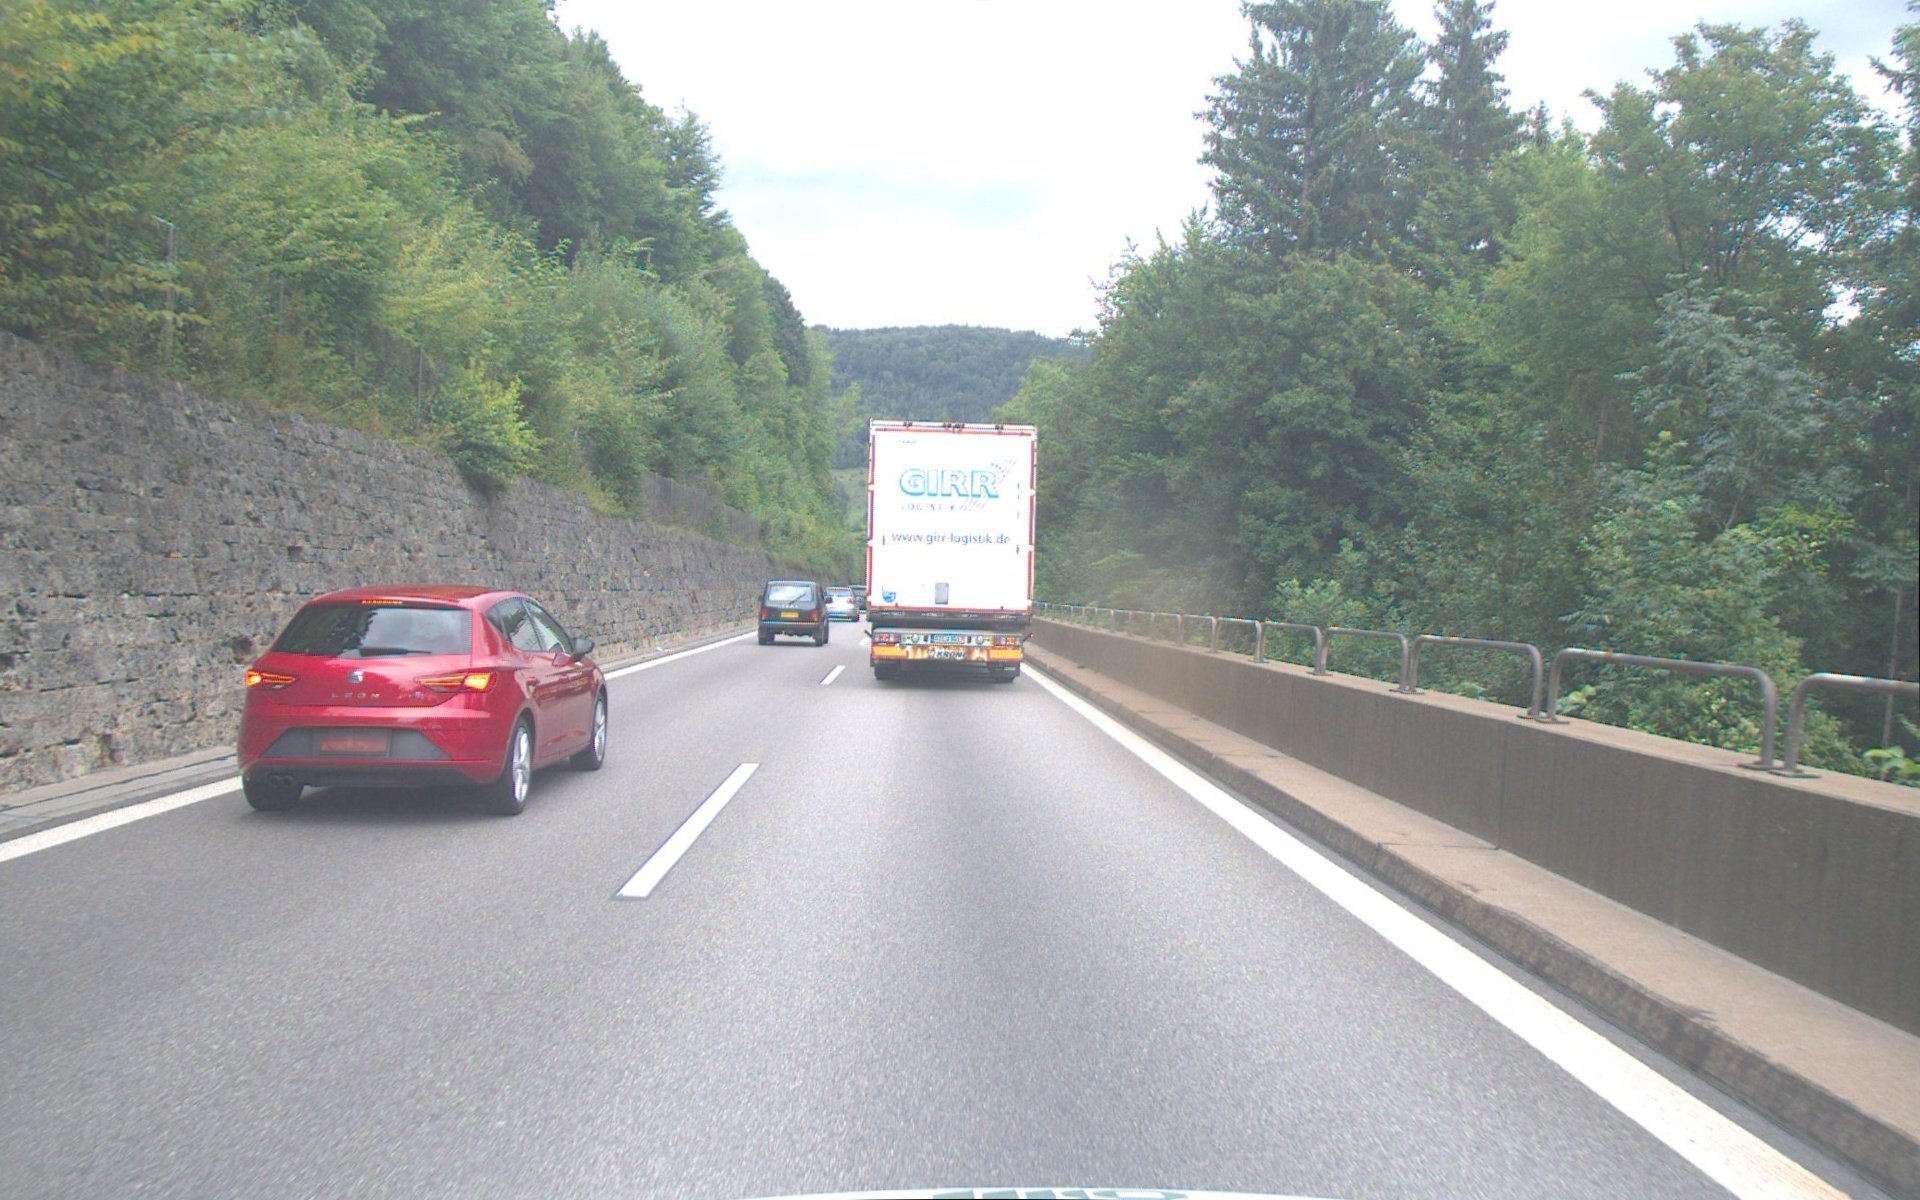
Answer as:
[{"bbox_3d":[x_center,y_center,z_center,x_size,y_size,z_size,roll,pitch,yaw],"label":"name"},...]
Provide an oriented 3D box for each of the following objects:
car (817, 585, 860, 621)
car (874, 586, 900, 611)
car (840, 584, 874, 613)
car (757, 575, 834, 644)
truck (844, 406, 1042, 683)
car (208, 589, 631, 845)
[{"bbox_3d":[-5.332,0.148,73.079,1.694,1.512,3.999,1,0,-2],"label":"car"},{"bbox_3d":[-6.171,-0.089,139.574,1.953,2.049,3.999,2,-1,0],"label":"car"},{"bbox_3d":[-6.145,-0.083,98.811,1.878,1.623,4.177,1,0,-2],"label":"car"},{"bbox_3d":[-4.231,0.237,42.933,1.635,1.667,4.067,1,0,-1],"label":"car"},{"bbox_3d":[-0.303,-0.819,29.035,2.849,4.030,9.277,1,0,-1],"label":"truck"},{"bbox_3d":[-3.621,0.699,11.960,1.731,1.485,4.409,1,0,-2],"label":"car"}]
